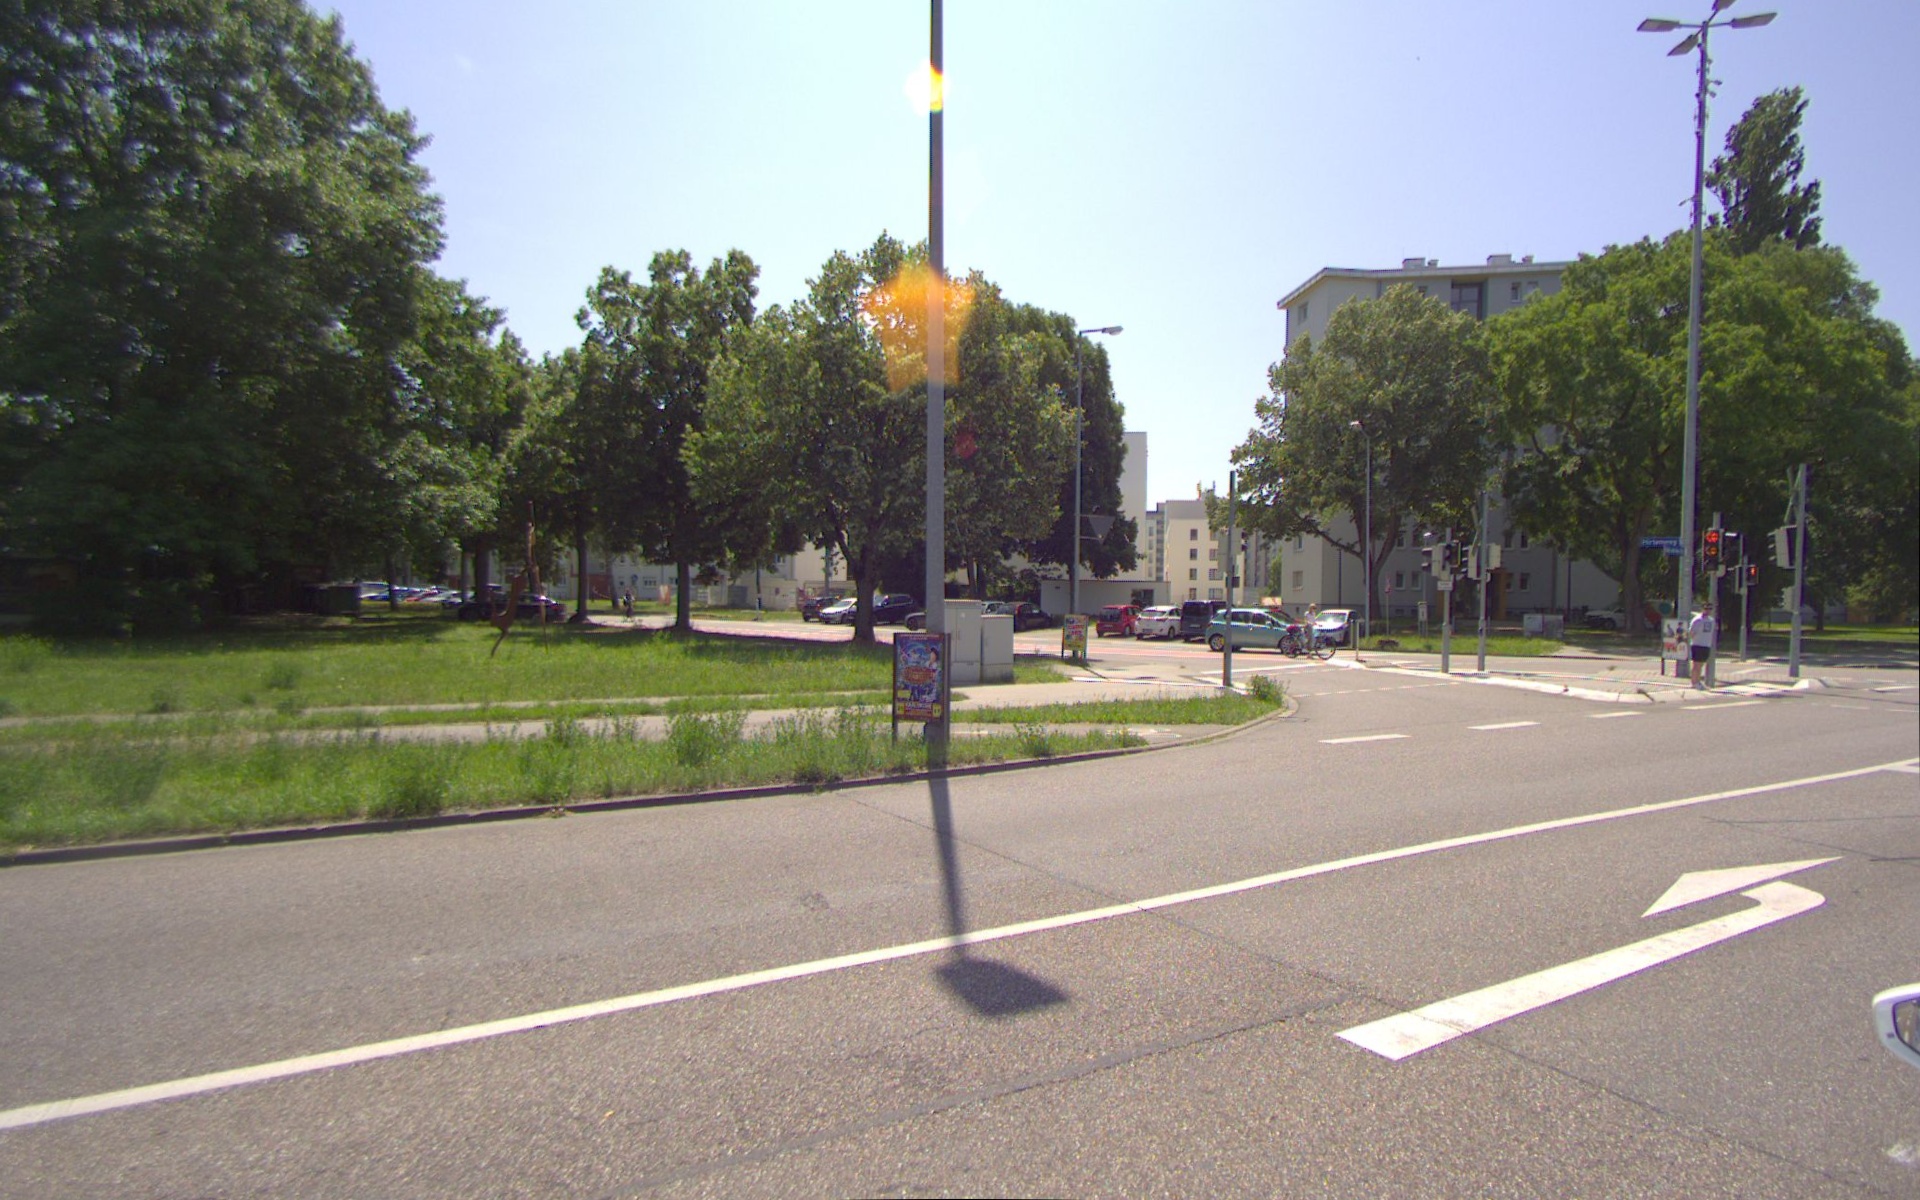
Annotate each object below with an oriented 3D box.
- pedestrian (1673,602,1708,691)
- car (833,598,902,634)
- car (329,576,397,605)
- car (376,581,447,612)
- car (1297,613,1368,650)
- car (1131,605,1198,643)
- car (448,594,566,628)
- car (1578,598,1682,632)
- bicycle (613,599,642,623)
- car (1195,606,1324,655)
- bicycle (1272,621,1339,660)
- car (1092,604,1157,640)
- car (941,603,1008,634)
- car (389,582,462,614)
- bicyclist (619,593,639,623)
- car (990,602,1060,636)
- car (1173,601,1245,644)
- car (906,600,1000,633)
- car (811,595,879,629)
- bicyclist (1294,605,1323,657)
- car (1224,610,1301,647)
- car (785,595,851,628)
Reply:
[{"bbox_3d":[14.364,0.903,19.745,0.480,1.710,0.380,0,1,-33],"label":"pedestrian"},{"bbox_3d":[-5.435,0.914,59.278,1.823,1.974,3.983,2,1,38],"label":"car"},{"bbox_3d":[-45.040,-0.699,75.847,1.970,2.041,3.980,5,4,41],"label":"car"},{"bbox_3d":[-38.910,-0.259,71.267,1.970,2.041,3.980,5,4,41],"label":"car"},{"bbox_3d":[15.890,1.301,42.745,1.604,1.399,3.982,2,1,39],"label":"car"},{"bbox_3d":[9.753,1.105,47.755,1.681,1.613,3.988,2,1,34],"label":"car"},{"bbox_3d":[-20.422,0.462,45.445,4.503,1.487,1.996,0,0,-12],"label":"car"},{"bbox_3d":[37.326,0.797,56.058,4.456,1.791,1.793,1,0,11],"label":"car"},{"bbox_3d":[-19.084,0.624,57.698,0.768,1.317,2.034,0,1,-44],"label":"bicycle"},{"bbox_3d":[10.142,0.987,34.127,3.835,1.488,1.769,1,0,37],"label":"car"},{"bbox_3d":[10.533,1.216,30.665,1.841,1.108,0.643,1,0,39],"label":"bicycle"},{"bbox_3d":[8.209,1.058,49.912,1.819,1.690,3.992,1,0,31],"label":"car"},{"bbox_3d":[0.846,0.981,55.070,1.667,1.583,3.821,1,0,39],"label":"car"},{"bbox_3d":[-36.989,-0.145,69.590,1.970,2.041,3.980,5,4,41],"label":"car"},{"bbox_3d":[-19.005,0.449,57.626,0.768,1.715,0.886,0,1,-44],"label":"bicyclist"},{"bbox_3d":[3.488,0.989,53.683,1.823,1.734,3.983,-1,-1,38],"label":"car"},{"bbox_3d":[11.489,0.986,46.233,1.683,1.825,3.983,2,1,38],"label":"car"},{"bbox_3d":[-0.382,0.806,50.556,4.558,1.519,1.905,1,0,38],"label":"car"},{"bbox_3d":[-6.978,0.709,61.321,1.823,1.974,3.983,2,1,38],"label":"car"},{"bbox_3d":[10.622,0.928,30.591,0.656,1.557,0.628,1,1,39],"label":"bicyclist"},{"bbox_3d":[13.447,1.231,44.539,1.601,1.483,3.974,3,2,45],"label":"car"},{"bbox_3d":[-8.908,0.700,63.165,1.823,1.974,3.983,2,1,38],"label":"car"}]
